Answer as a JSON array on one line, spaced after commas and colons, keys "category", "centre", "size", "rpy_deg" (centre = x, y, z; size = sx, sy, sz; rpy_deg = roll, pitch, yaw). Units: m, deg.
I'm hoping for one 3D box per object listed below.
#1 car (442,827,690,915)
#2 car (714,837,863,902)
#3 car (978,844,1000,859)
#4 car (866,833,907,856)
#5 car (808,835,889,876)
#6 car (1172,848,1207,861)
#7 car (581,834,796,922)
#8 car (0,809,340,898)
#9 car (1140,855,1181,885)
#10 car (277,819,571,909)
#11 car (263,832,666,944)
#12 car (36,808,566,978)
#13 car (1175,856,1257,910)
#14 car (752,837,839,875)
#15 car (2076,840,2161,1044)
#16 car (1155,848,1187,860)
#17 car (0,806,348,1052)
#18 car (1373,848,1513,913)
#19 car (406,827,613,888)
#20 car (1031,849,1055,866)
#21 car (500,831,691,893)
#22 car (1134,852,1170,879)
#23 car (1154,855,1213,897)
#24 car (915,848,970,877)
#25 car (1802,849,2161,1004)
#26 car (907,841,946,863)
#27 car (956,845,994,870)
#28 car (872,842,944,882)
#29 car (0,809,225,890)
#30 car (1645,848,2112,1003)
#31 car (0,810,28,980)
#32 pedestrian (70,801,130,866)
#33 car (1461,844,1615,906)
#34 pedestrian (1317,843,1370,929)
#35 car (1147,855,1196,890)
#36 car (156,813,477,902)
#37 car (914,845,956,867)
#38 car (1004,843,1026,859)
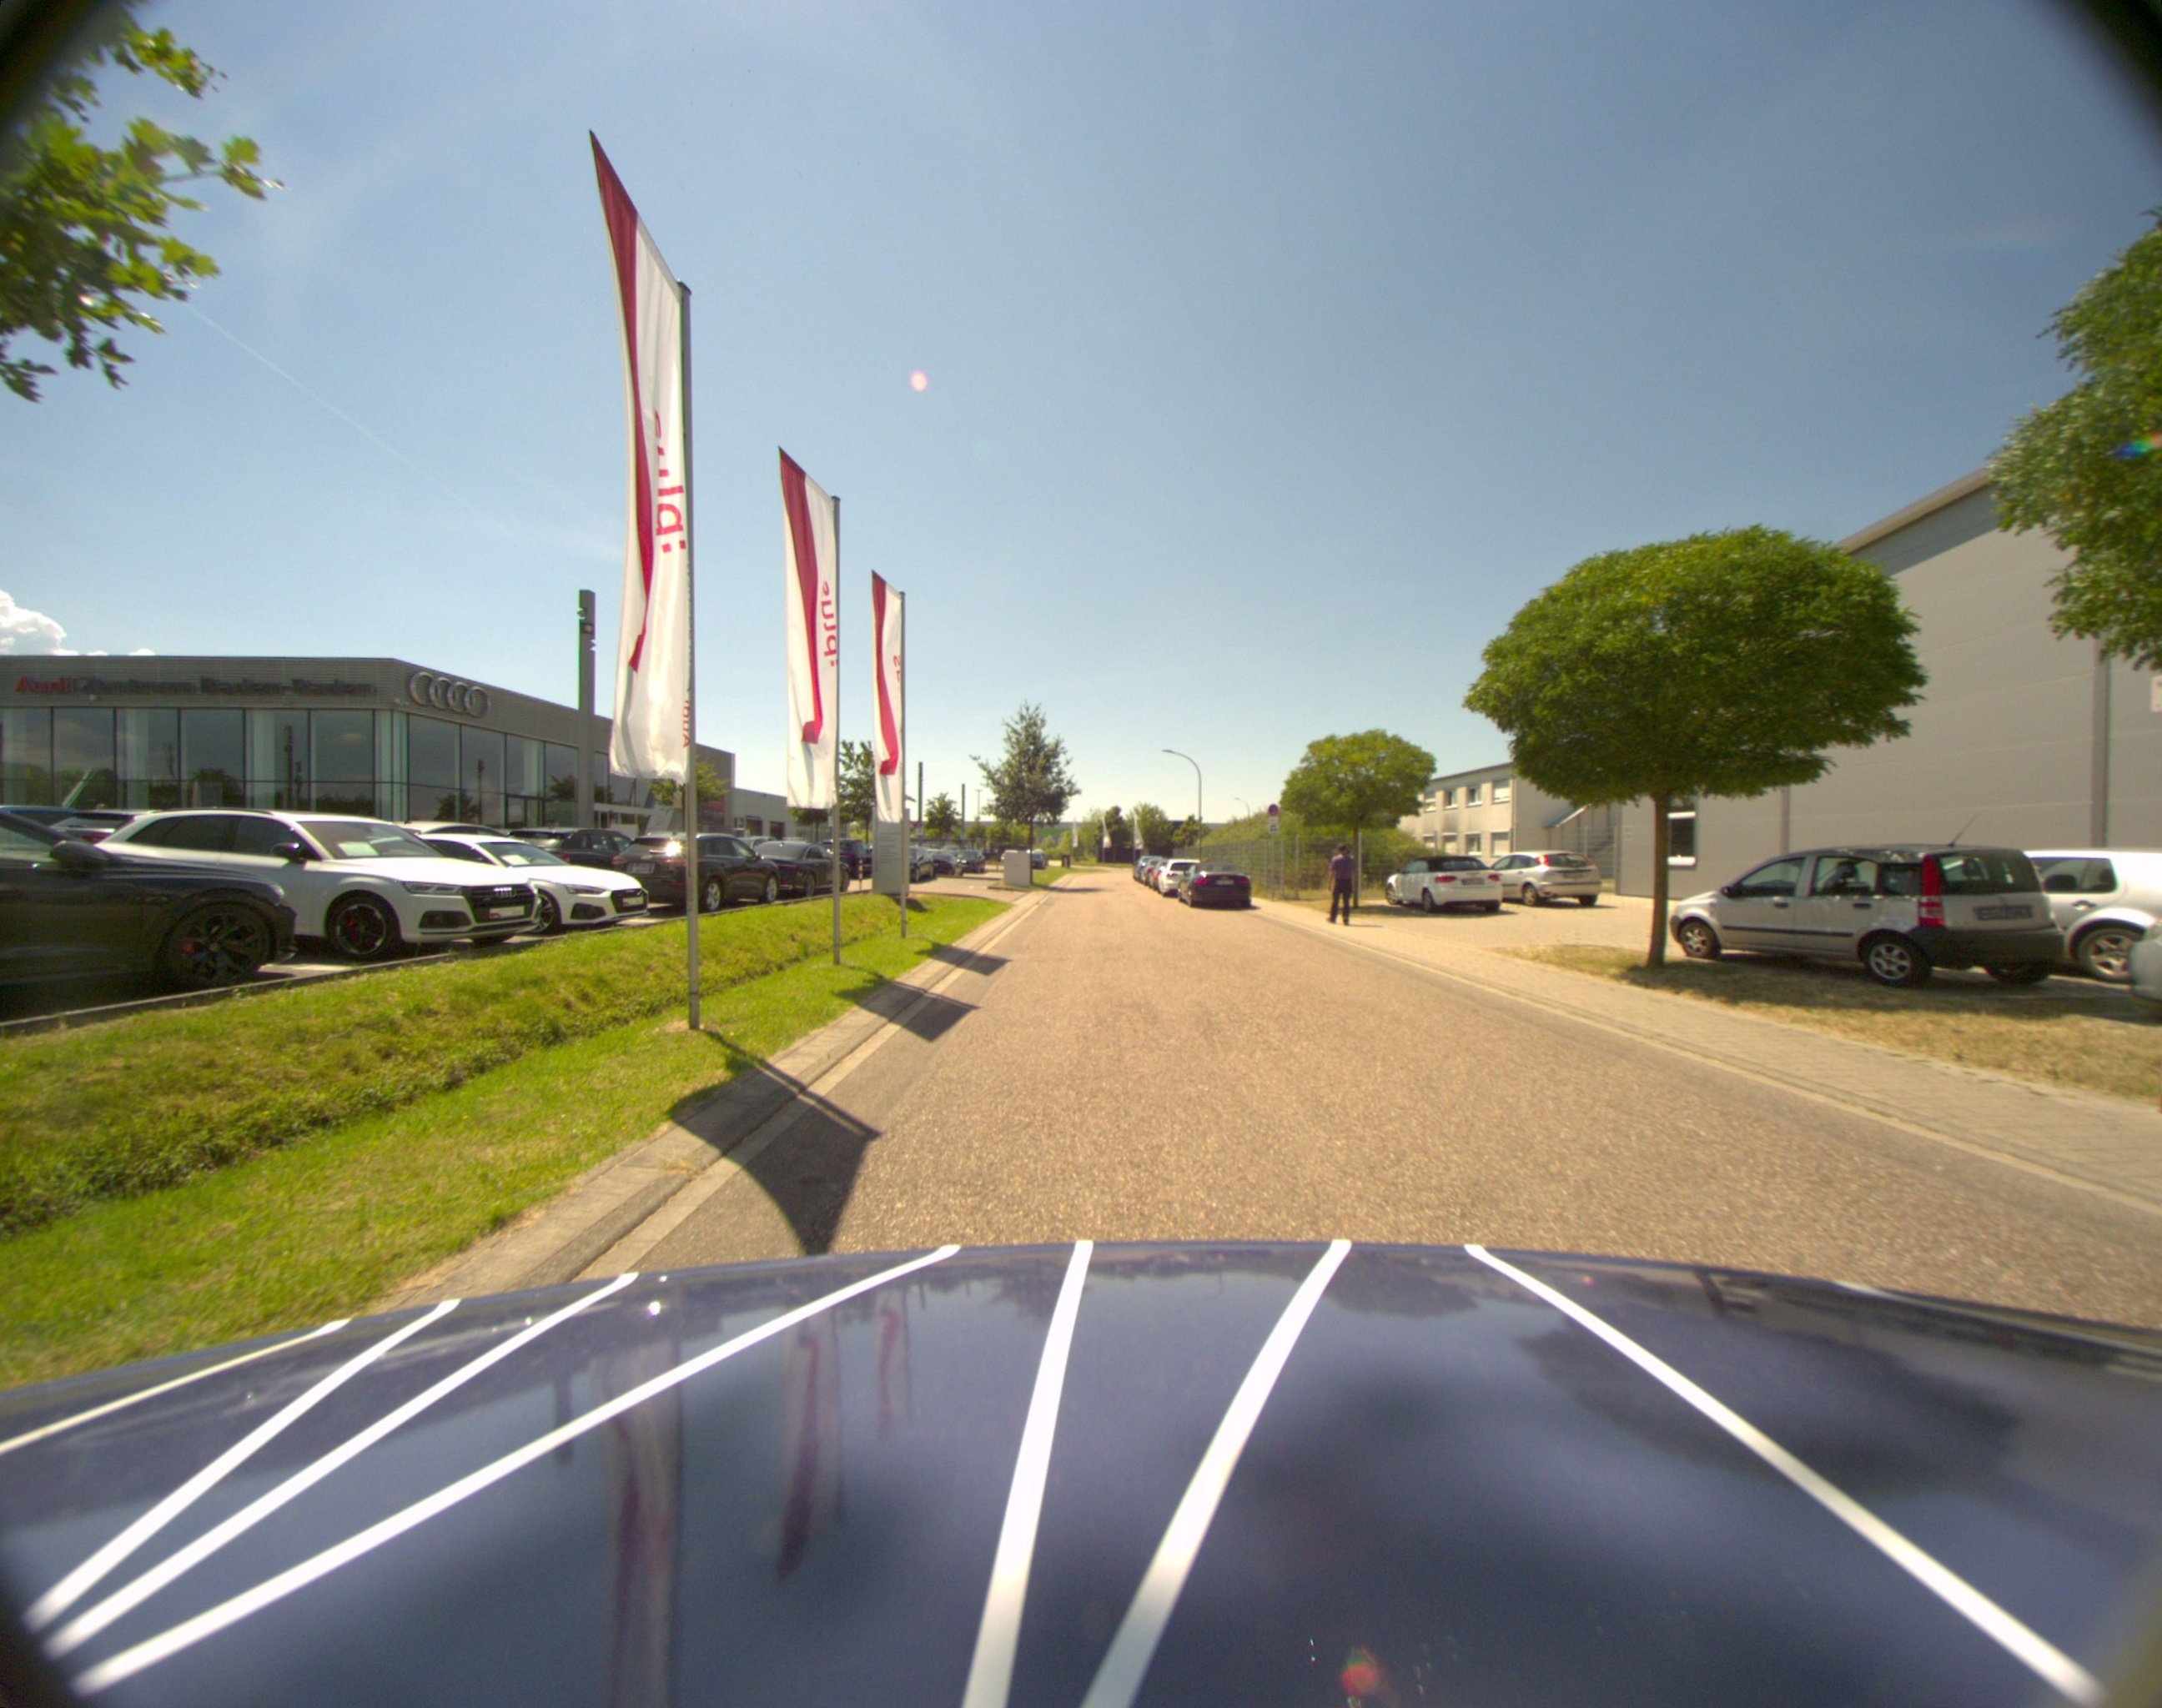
[{"category": "car", "centre": [-10.794, 0.294, 16.483], "size": [2.030, 1.580, 4.779], "rpy_deg": [2, 1, 1]}, {"category": "car", "centre": [-8.051, 0.363, 21.594], "size": [2.030, 1.506, 5.239], "rpy_deg": [3, 1, 1]}, {"category": "car", "centre": [-10.725, -0.334, 88.522], "size": [1.966, 1.620, 4.625], "rpy_deg": [2, 0, 0]}, {"category": "car", "centre": [-14.743, -0.728, 57.805], "size": [1.966, 1.604, 4.288], "rpy_deg": [2, 1, 0]}, {"category": "car", "centre": [-10.221, -0.011, 33.778], "size": [1.966, 1.589, 4.984], "rpy_deg": [2, 2, 1]}, {"category": "car", "centre": [13.873, 0.082, 97.149], "size": [4.280, 1.592, 1.780], "rpy_deg": [-1, 1, 0]}, {"category": "car", "centre": [-8.101, 0.420, 16.335], "size": [2.030, 1.564, 4.779], "rpy_deg": [2, 1, 1]}, {"category": "car", "centre": [-19.173, -0.036, 16.175], "size": [2.030, 1.580, 4.779], "rpy_deg": [2, 1, 1]}, {"category": "car", "centre": [4.232, 0.806, 40.908], "size": [1.829, 1.491, 4.520], "rpy_deg": [1, 0, 1]}, {"category": "car", "centre": [-13.557, 0.165, 16.203], "size": [2.030, 1.580, 4.779], "rpy_deg": [2, 1, 1]}, {"category": "car", "centre": [-9.278, 0.478, 11.774], "size": [4.540, 1.449, 2.031], "rpy_deg": [2, 1, -1]}, {"category": "car", "centre": [-9.197, 0.402, 9.238], "size": [4.538, 1.683, 2.032], "rpy_deg": [2, 1, 4]}, {"category": "car", "centre": [4.163, 0.836, 24.096], "size": [1.829, 1.491, 4.525], "rpy_deg": [1, 0, 1]}, {"category": "car", "centre": [-12.650, 0.027, 34.030], "size": [1.966, 1.448, 4.984], "rpy_deg": [2, 2, 1]}, {"category": "car", "centre": [9.174, 0.679, 4.086], "size": [1.770, 1.564, 4.539], "rpy_deg": [-1, 1, 2]}, {"category": "car", "centre": [12.310, 0.034, 104.096], "size": [4.169, 1.558, 1.780], "rpy_deg": [-1, 1, 0]}, {"category": "car", "centre": [-8.408, 0.487, 5.031], "size": [2.029, 1.683, 5.108], "rpy_deg": [2, 1, 2]}, {"category": "car", "centre": [9.485, 0.625, 20.327], "size": [1.828, 1.491, 4.328], "rpy_deg": [-2, 0, 3]}, {"category": "car", "centre": [-16.244, 0.076, 22.057], "size": [2.030, 1.448, 5.077], "rpy_deg": [3, 1, 1]}, {"category": "car", "centre": [-3.456, 0.285, 69.315], "size": [1.884, 1.446, 5.023], "rpy_deg": [3, 0, 0]}, {"category": "car", "centre": [-13.528, 0.178, 21.657], "size": [2.030, 1.448, 5.077], "rpy_deg": [3, 1, 1]}, {"category": "car", "centre": [4.305, 0.673, 46.662], "size": [1.829, 1.561, 4.386], "rpy_deg": [1, 1, 0]}, {"category": "car", "centre": [3.980, 0.817, 30.006], "size": [1.829, 1.491, 4.259], "rpy_deg": [1, 0, 1]}, {"category": "car", "centre": [-7.368, 0.482, 40.944], "size": [1.966, 1.358, 4.721], "rpy_deg": [3, -1, 1]}, {"category": "car", "centre": [11.370, 0.705, 9.185], "size": [1.687, 1.491, 3.703], "rpy_deg": [-1, 1, -3]}, {"category": "car", "centre": [-11.927, -0.167, 58.980], "size": [1.966, 1.544, 5.005], "rpy_deg": [2, 0, 0]}, {"category": "car", "centre": [-7.175, 0.227, 51.782], "size": [1.892, 1.562, 4.227], "rpy_deg": [3, 1, 0]}, {"category": "car", "centre": [-7.625, 0.297, 33.910], "size": [1.966, 1.448, 4.984], "rpy_deg": [2, 2, 1]}, {"category": "car", "centre": [-22.041, -0.125, 16.265], "size": [2.030, 1.580, 4.778], "rpy_deg": [2, 1, 0]}, {"category": "car", "centre": [9.161, 0.684, 9.259], "size": [1.687, 1.491, 3.703], "rpy_deg": [0, 0, -4]}, {"category": "car", "centre": [-11.267, 0.375, 4.955], "size": [2.029, 1.601, 4.809], "rpy_deg": [2, 1, 2]}, {"category": "pedestrian", "centre": [-25.861, -0.530, 20.030], "size": [0.712, 1.685, 0.637], "rpy_deg": [0, -1, 1]}, {"category": "car", "centre": [12.423, 0.510, 21.032], "size": [1.828, 1.491, 4.259], "rpy_deg": [-2, 0, 3]}, {"category": "pedestrian", "centre": [5.698, 0.664, 16.557], "size": [0.746, 1.791, 1.135], "rpy_deg": [-2, 1, 3]}, {"category": "car", "centre": [4.133, 0.802, 35.419], "size": [1.829, 1.491, 4.520], "rpy_deg": [1, 0, 1]}, {"category": "car", "centre": [-16.056, 0.044, 16.451], "size": [2.030, 1.580, 4.779], "rpy_deg": [2, 1, 1]}, {"category": "car", "centre": [-9.869, 0.130, 51.791], "size": [1.966, 1.358, 4.227], "rpy_deg": [3, 0, 0]}, {"category": "car", "centre": [-6.647, -0.283, 76.858], "size": [1.824, 1.520, 4.944], "rpy_deg": [2, 0, 0]}]
